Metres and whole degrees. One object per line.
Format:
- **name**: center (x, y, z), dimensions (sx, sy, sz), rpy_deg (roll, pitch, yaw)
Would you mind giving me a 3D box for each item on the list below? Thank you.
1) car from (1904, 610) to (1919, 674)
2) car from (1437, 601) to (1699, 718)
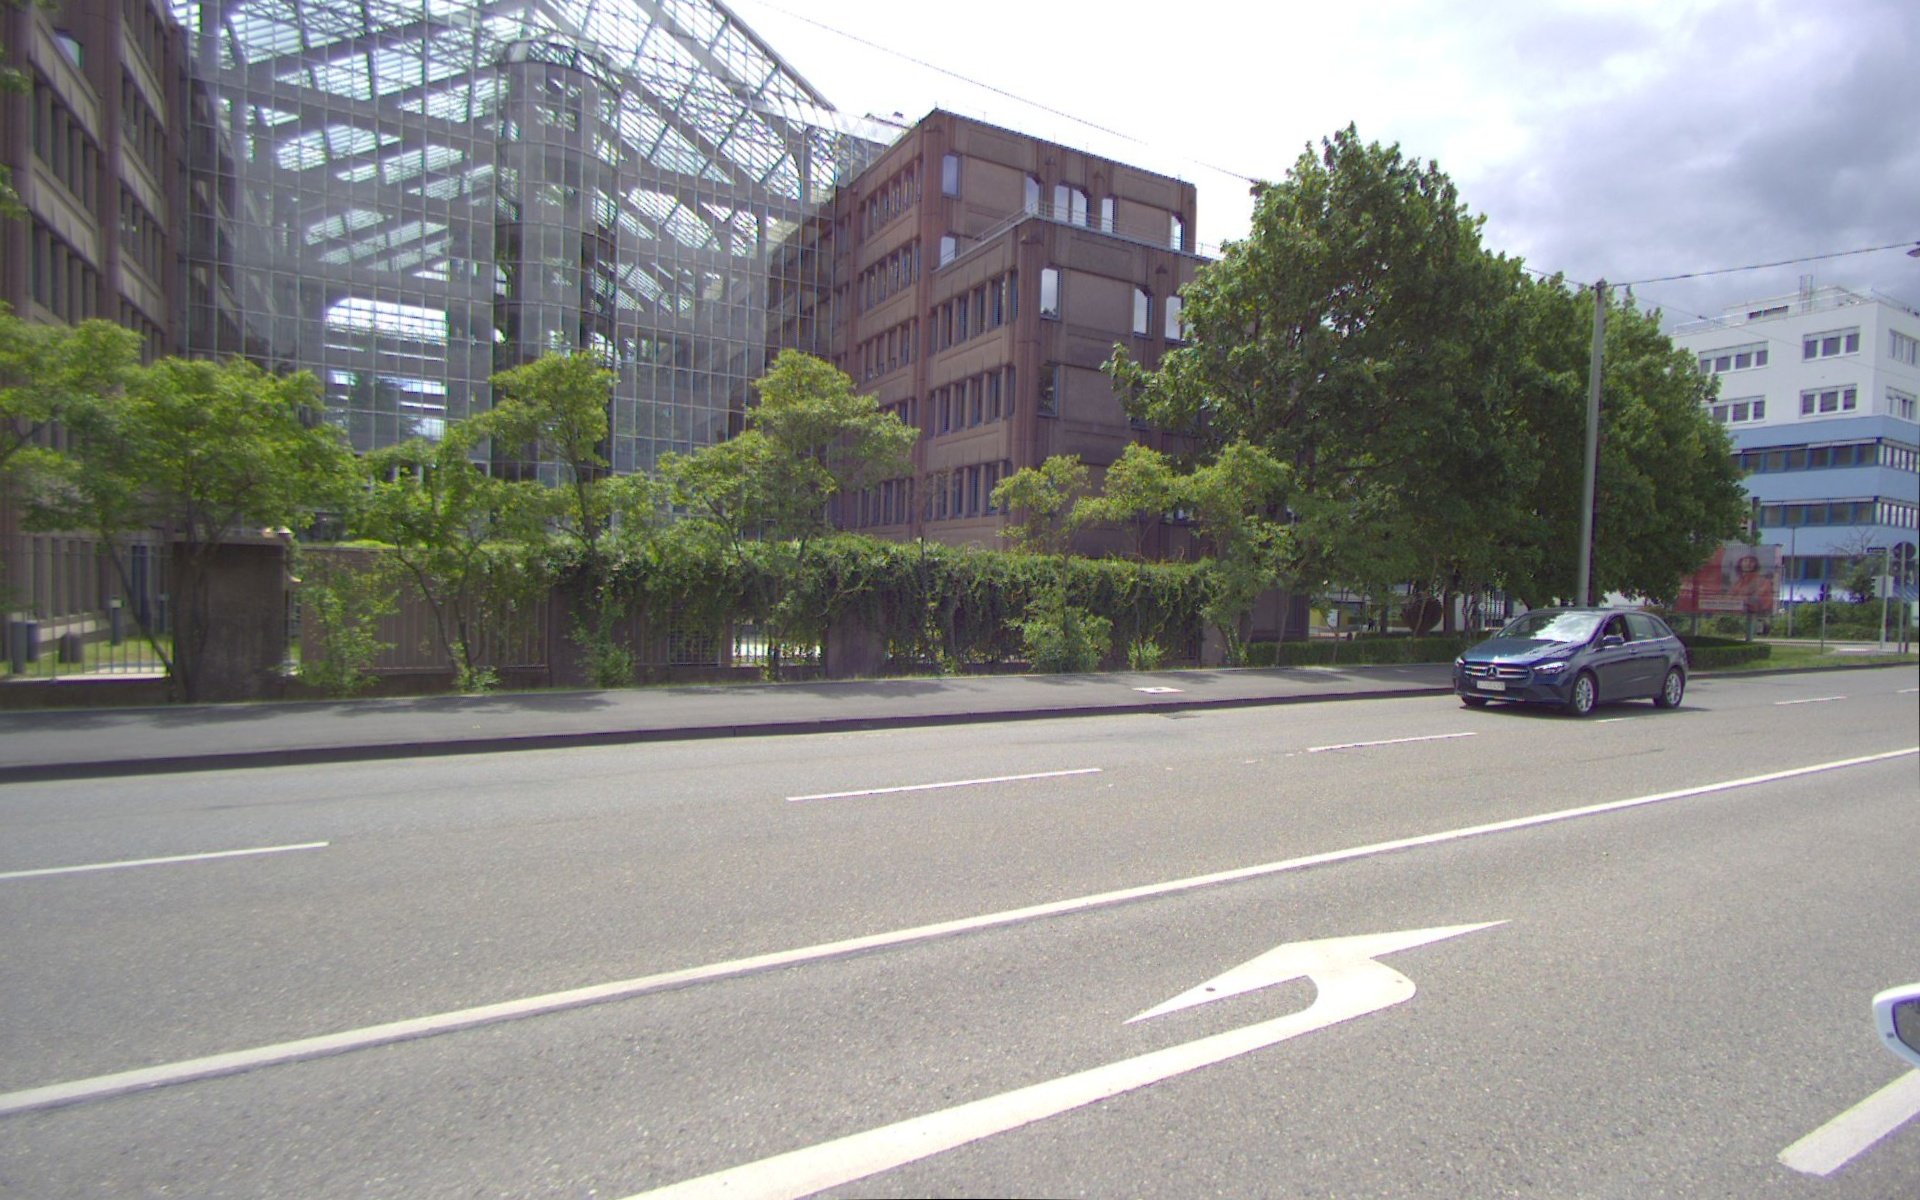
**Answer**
- **car**: center (26.862, 1.145, 26.347), dimensions (4.519, 1.636, 1.858), rpy_deg (2, 1, -31)
- **car**: center (9.553, 0.853, 15.694), dimensions (4.265, 1.606, 1.786), rpy_deg (1, 0, -32)
